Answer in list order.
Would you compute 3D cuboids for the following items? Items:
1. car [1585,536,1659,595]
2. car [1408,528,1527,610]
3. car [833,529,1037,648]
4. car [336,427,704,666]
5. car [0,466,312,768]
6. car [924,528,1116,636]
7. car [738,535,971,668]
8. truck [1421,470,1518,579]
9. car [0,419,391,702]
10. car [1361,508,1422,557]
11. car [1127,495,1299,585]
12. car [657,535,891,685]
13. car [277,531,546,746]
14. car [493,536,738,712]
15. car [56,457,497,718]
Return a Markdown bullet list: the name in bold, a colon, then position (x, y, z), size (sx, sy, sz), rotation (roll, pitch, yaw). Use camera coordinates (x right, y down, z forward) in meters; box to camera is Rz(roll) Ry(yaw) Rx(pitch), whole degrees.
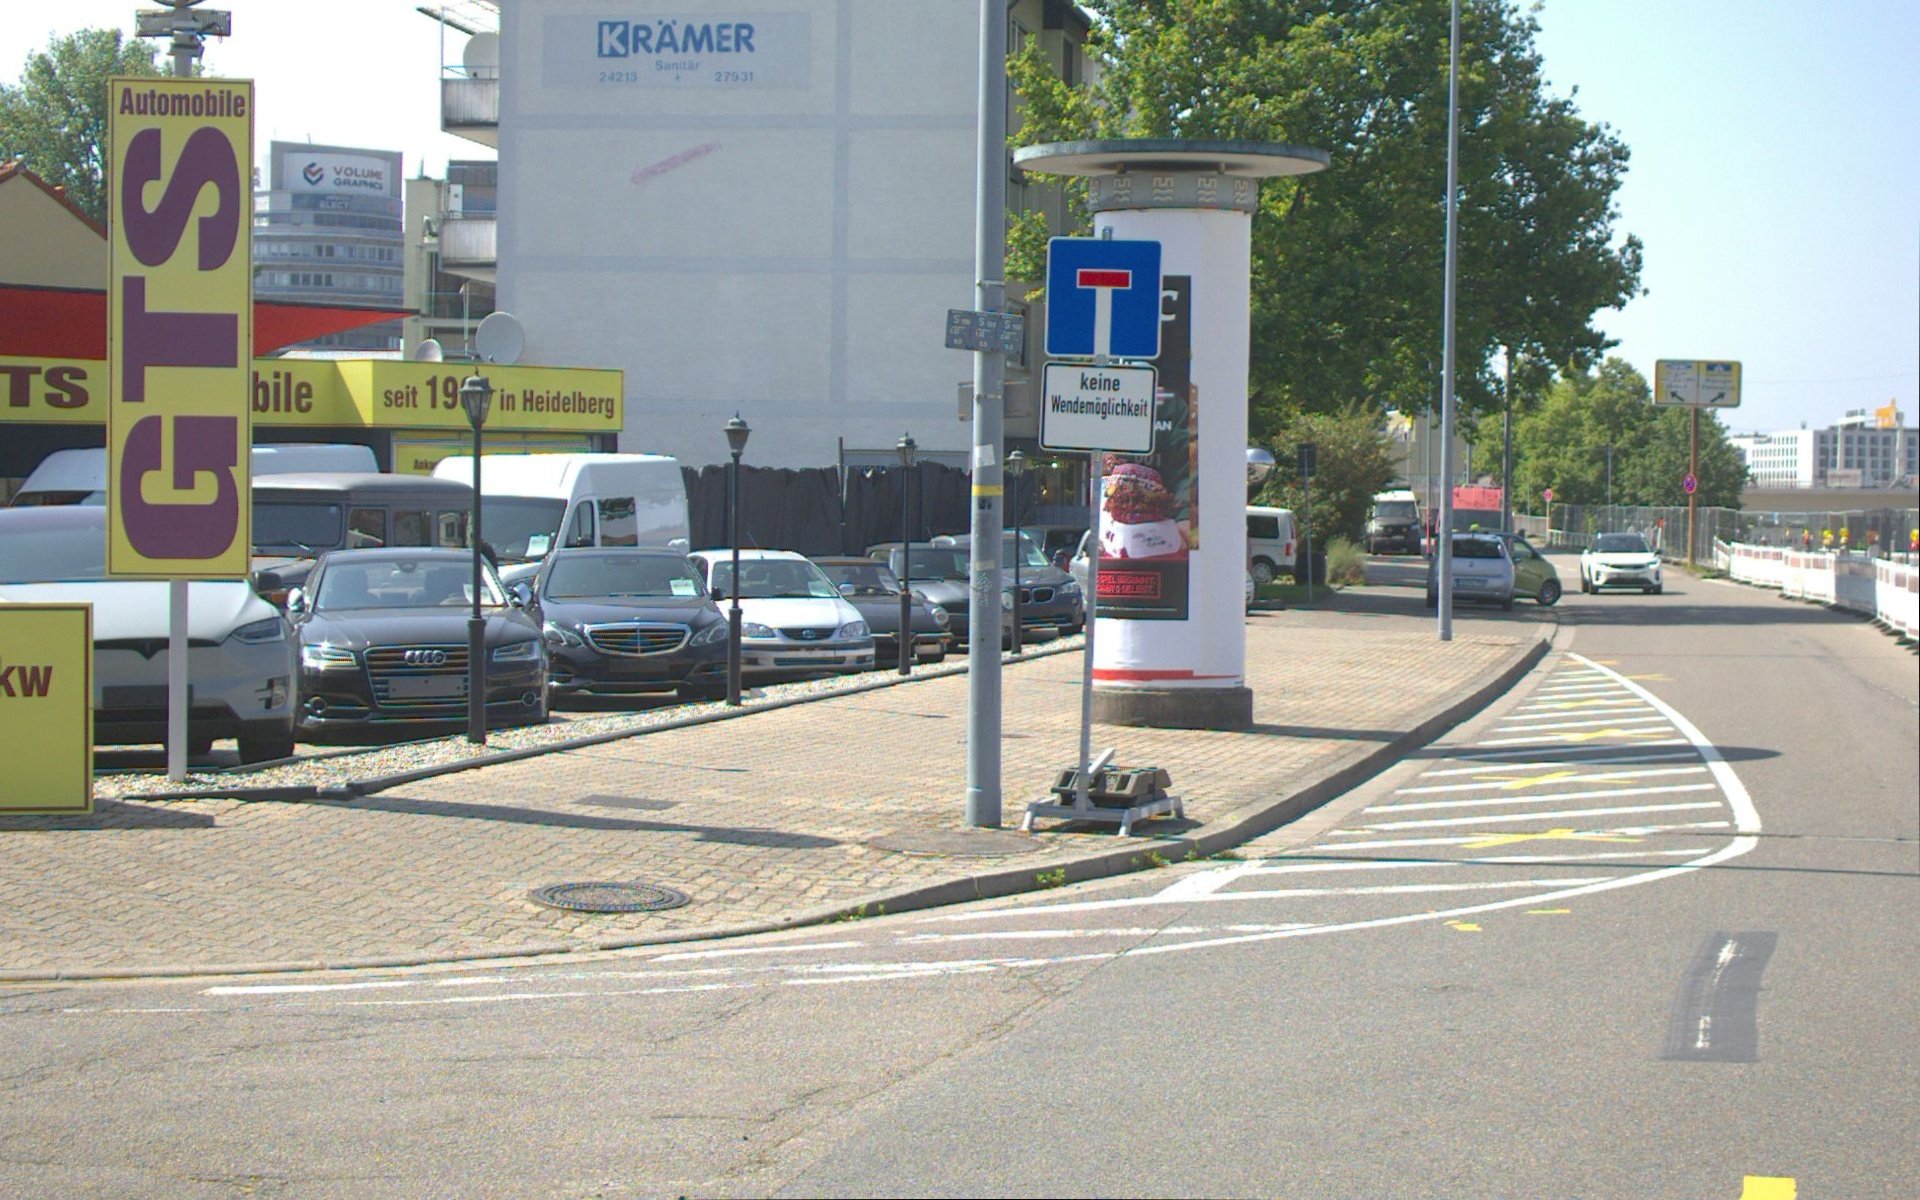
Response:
- **car**: position (16.476, -0.859, 85.627), size (1.718, 1.411, 4.076), rotation (1, 1, 10)
- **car**: position (10.017, -0.639, 67.650), size (1.870, 1.493, 4.029), rotation (0, 2, 15)
- **car**: position (-0.382, -0.169, 45.802), size (1.666, 1.468, 4.001), rotation (-2, 1, -16)
- **car**: position (-4.947, -0.588, 39.691), size (2.247, 2.422, 5.715), rotation (4, 1, 13)
- **car**: position (-5.608, 0.146, 21.871), size (1.975, 1.701, 4.665), rotation (-1, -1, -22)
- **car**: position (0.828, -0.278, 50.280), size (1.666, 1.468, 4.001), rotation (-2, 1, -16)
- **car**: position (-1.320, -0.006, 41.276), size (1.666, 1.468, 4.001), rotation (-2, 1, -19)
- **truck**: position (12.912, -1.870, 86.891), size (2.239, 2.639, 5.679), rotation (1, 1, 10)
- **car**: position (-8.580, -0.410, 36.708), size (2.279, 2.748, 6.147), rotation (0, 0, 19)
- **car**: position (18.140, -2.825, 144.457), size (1.938, 1.828, 3.921), rotation (5, 1, 14)
- **car**: position (5.944, -1.418, 80.765), size (3.923, 1.952, 1.759), rotation (2, 1, 5)
- **car**: position (-2.076, 0.083, 37.336), size (1.779, 1.468, 4.001), rotation (-2, 1, -14)
- **car**: position (-4.294, 0.247, 26.484), size (1.835, 1.468, 4.001), rotation (-2, 1, -11)
- **car**: position (-3.248, 0.178, 31.797), size (1.835, 1.468, 4.001), rotation (-2, 1, -11)
- **car**: position (-6.540, -0.117, 33.545), size (2.247, 2.342, 4.820), rotation (0, 0, 16)
